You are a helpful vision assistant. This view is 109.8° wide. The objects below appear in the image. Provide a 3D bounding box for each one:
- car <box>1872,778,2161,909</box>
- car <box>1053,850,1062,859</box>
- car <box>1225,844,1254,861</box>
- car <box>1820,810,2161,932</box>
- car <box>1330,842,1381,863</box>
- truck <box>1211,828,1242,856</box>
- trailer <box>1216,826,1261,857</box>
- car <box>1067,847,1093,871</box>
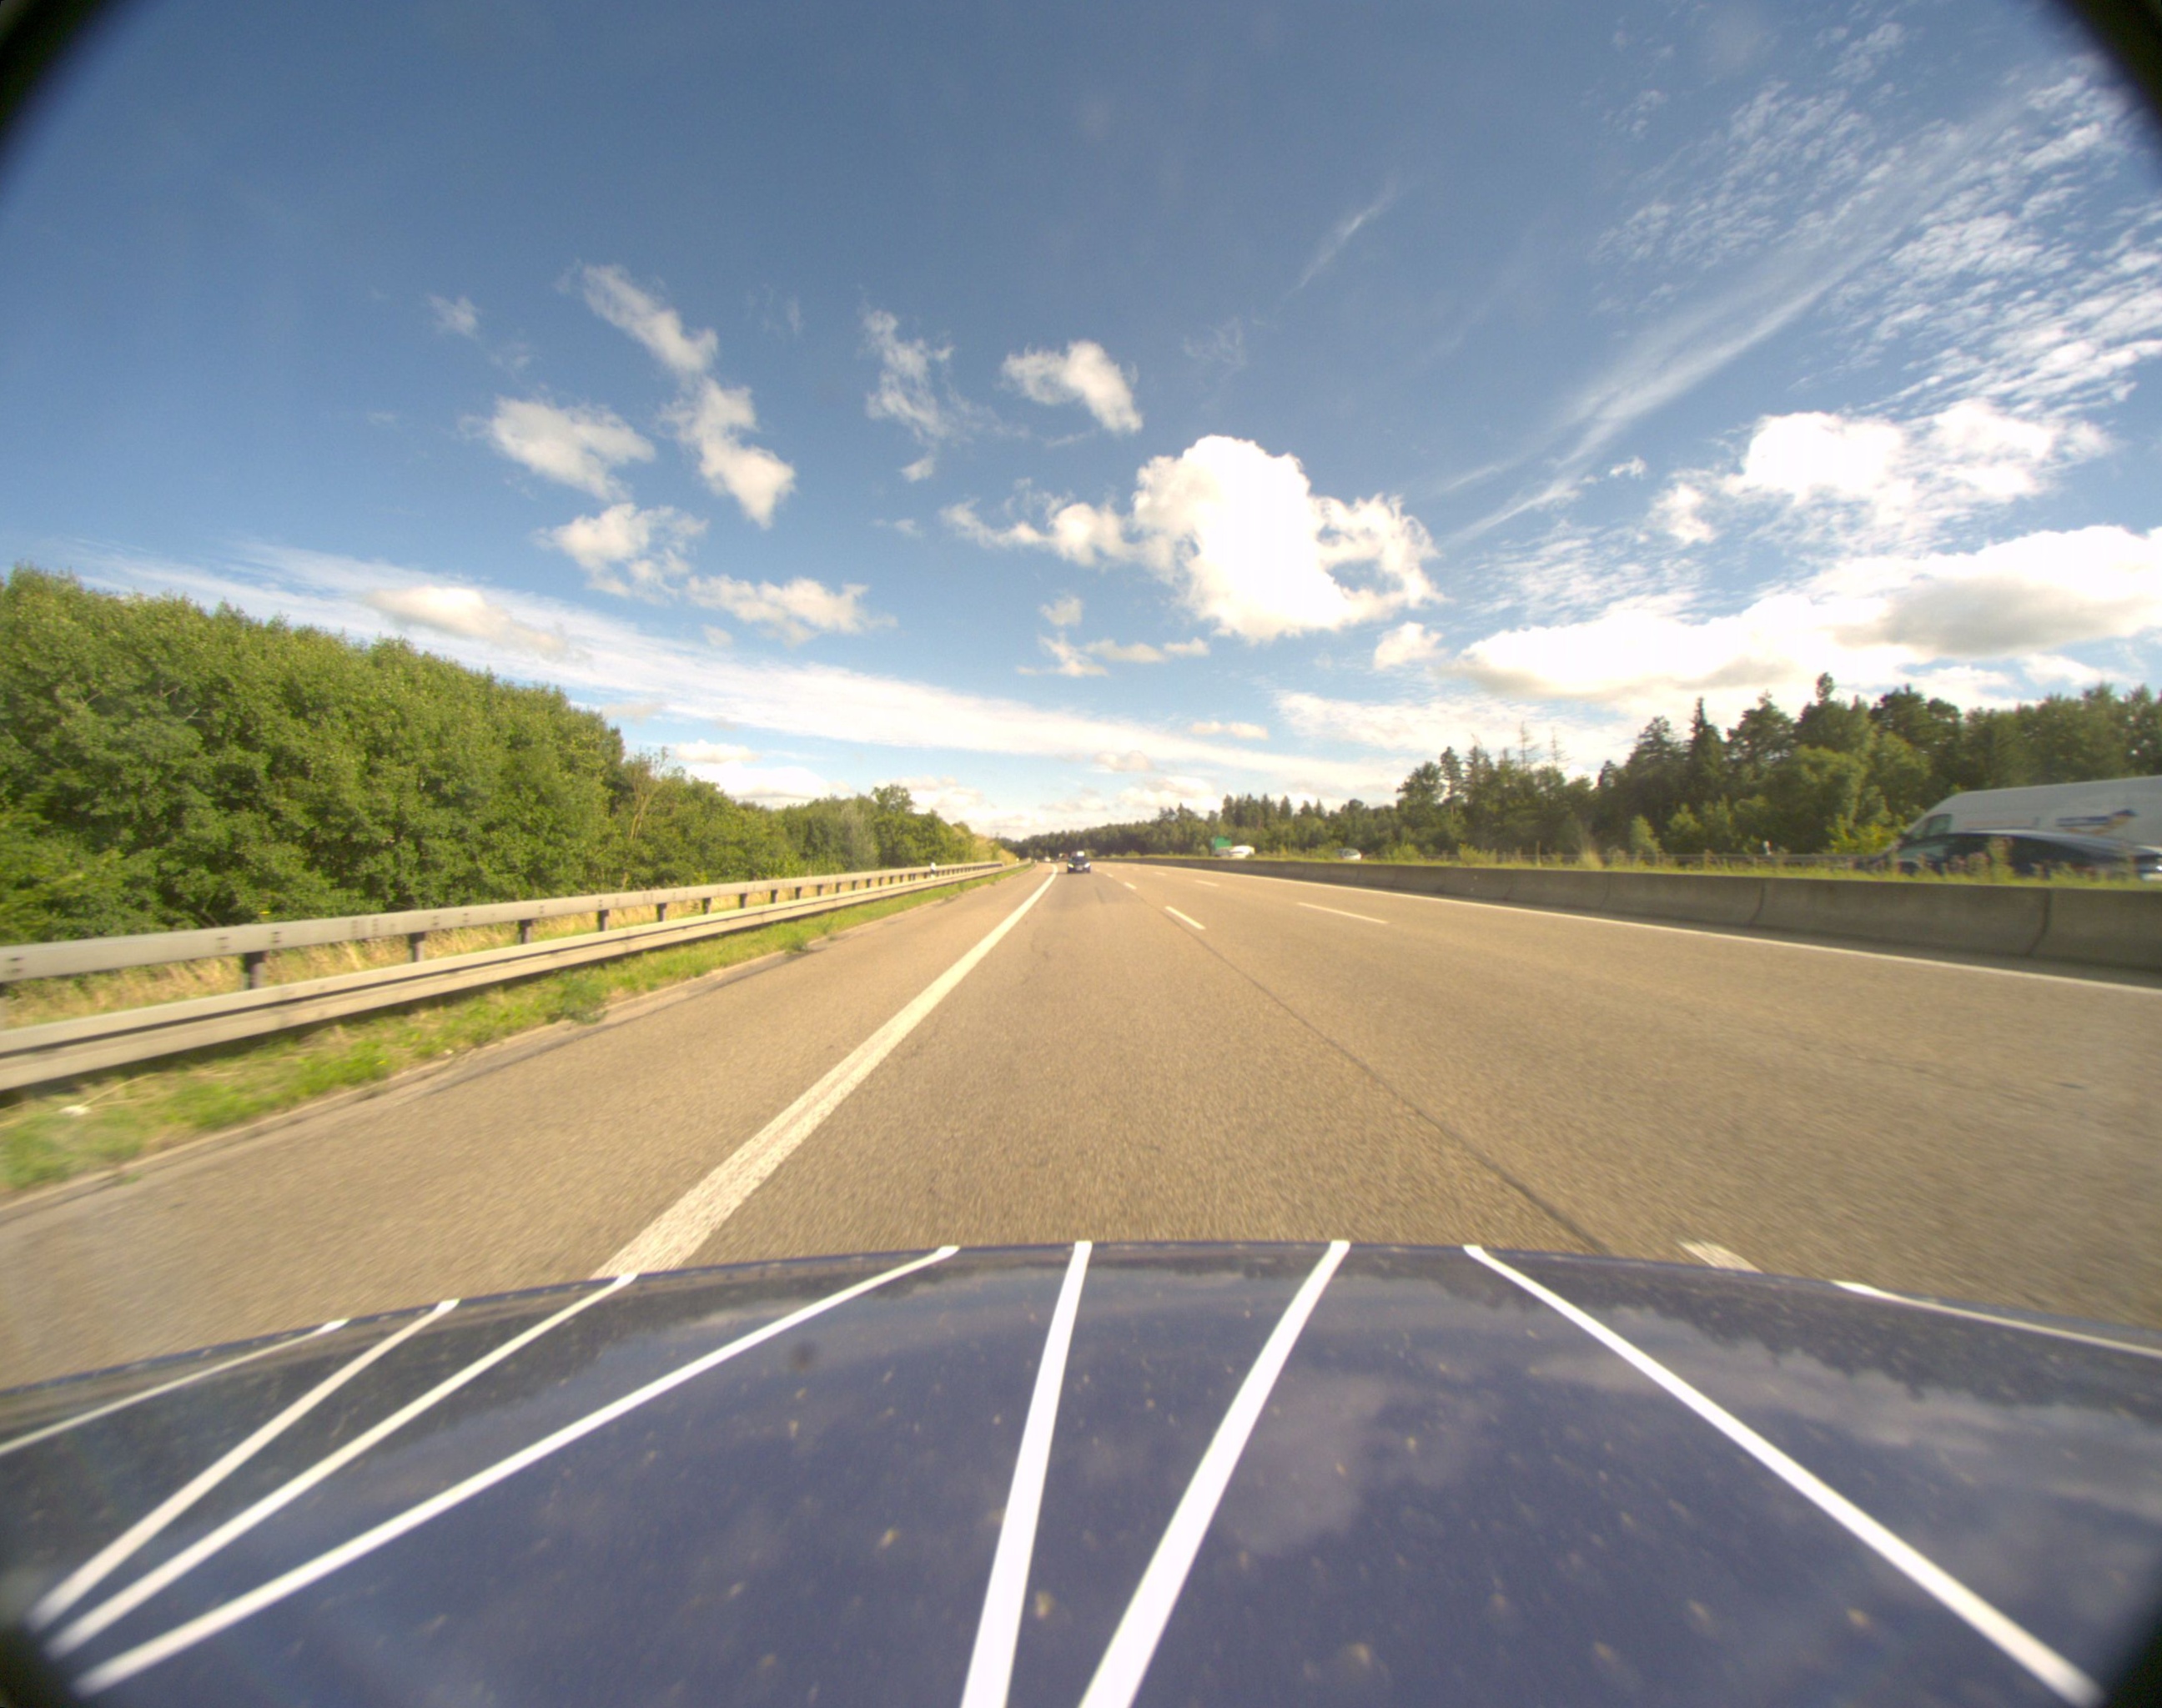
[{"bbox_3d":[19.512,-0.227,15.153,2.070,2.231,5.203,-2,1,1],"label":"car"},{"bbox_3d":[-5.605,0.122,180.252,1.999,2.002,3.999,-2,1,0],"label":"car"},{"bbox_3d":[15.583,-0.170,74.985,1.930,1.600,4.463,-2,1,0],"label":"car"},{"bbox_3d":[15.748,0.199,12.972,2.070,1.723,4.321,-2,1,1],"label":"car"},{"bbox_3d":[19.573,-0.132,54.307,1.998,1.395,4.463,-2,0,0],"label":"car"},{"bbox_3d":[21.940,-1.802,114.889,3.384,3.986,5.862,-2,1,-1],"label":"truck"},{"bbox_3d":[22.027,-1.749,107.242,3.384,3.986,13.637,-2,0,-1],"label":"trailer"},{"bbox_3d":[-0.095,0.374,61.846,1.999,1.827,3.999,-2,1,-1],"label":"car"}]
